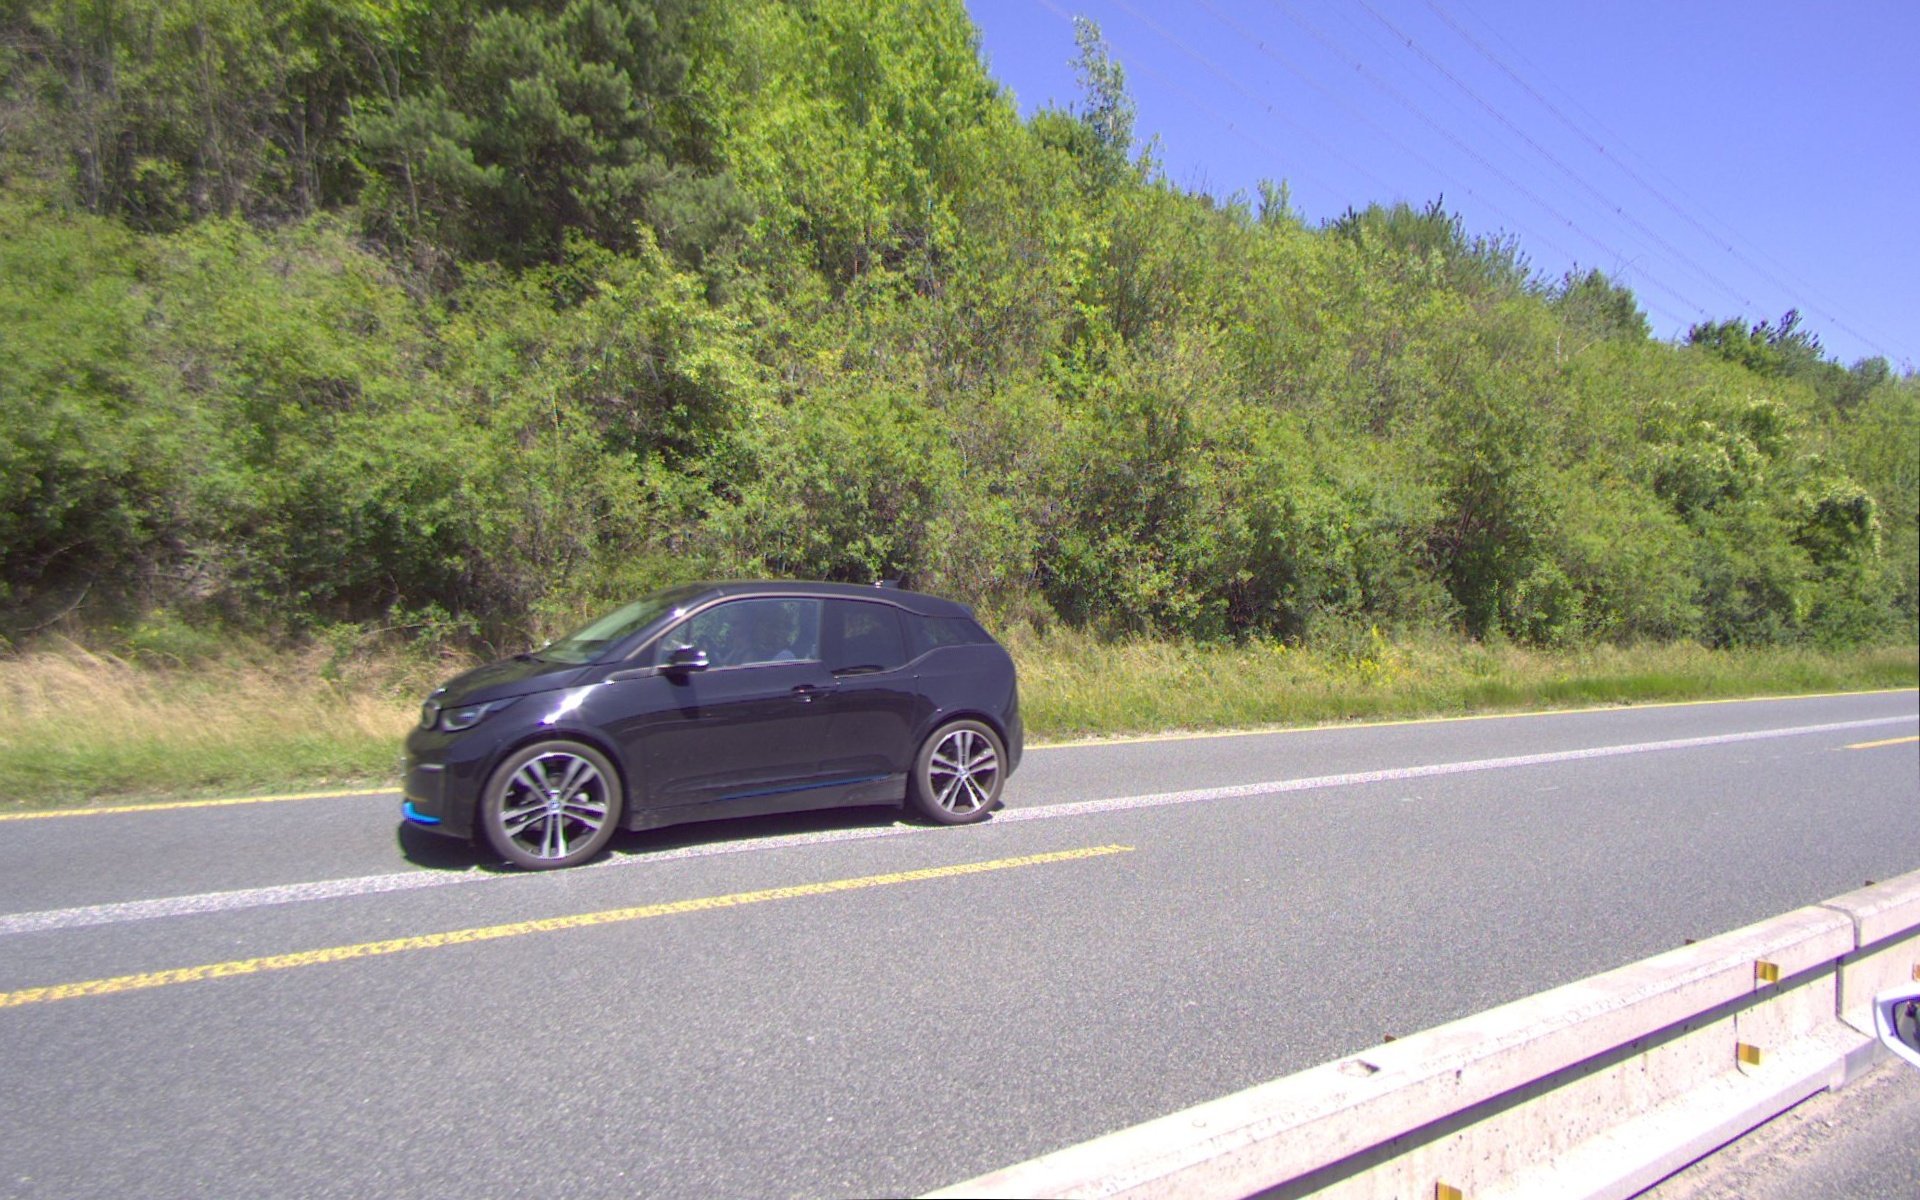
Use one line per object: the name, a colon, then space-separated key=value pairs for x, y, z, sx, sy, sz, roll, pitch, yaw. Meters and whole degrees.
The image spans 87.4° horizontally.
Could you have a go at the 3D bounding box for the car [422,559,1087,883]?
car: x=-1.299 y=0.624 z=6.743 sx=4.021 sy=1.598 sz=1.770 roll=1 pitch=0 yaw=-30
